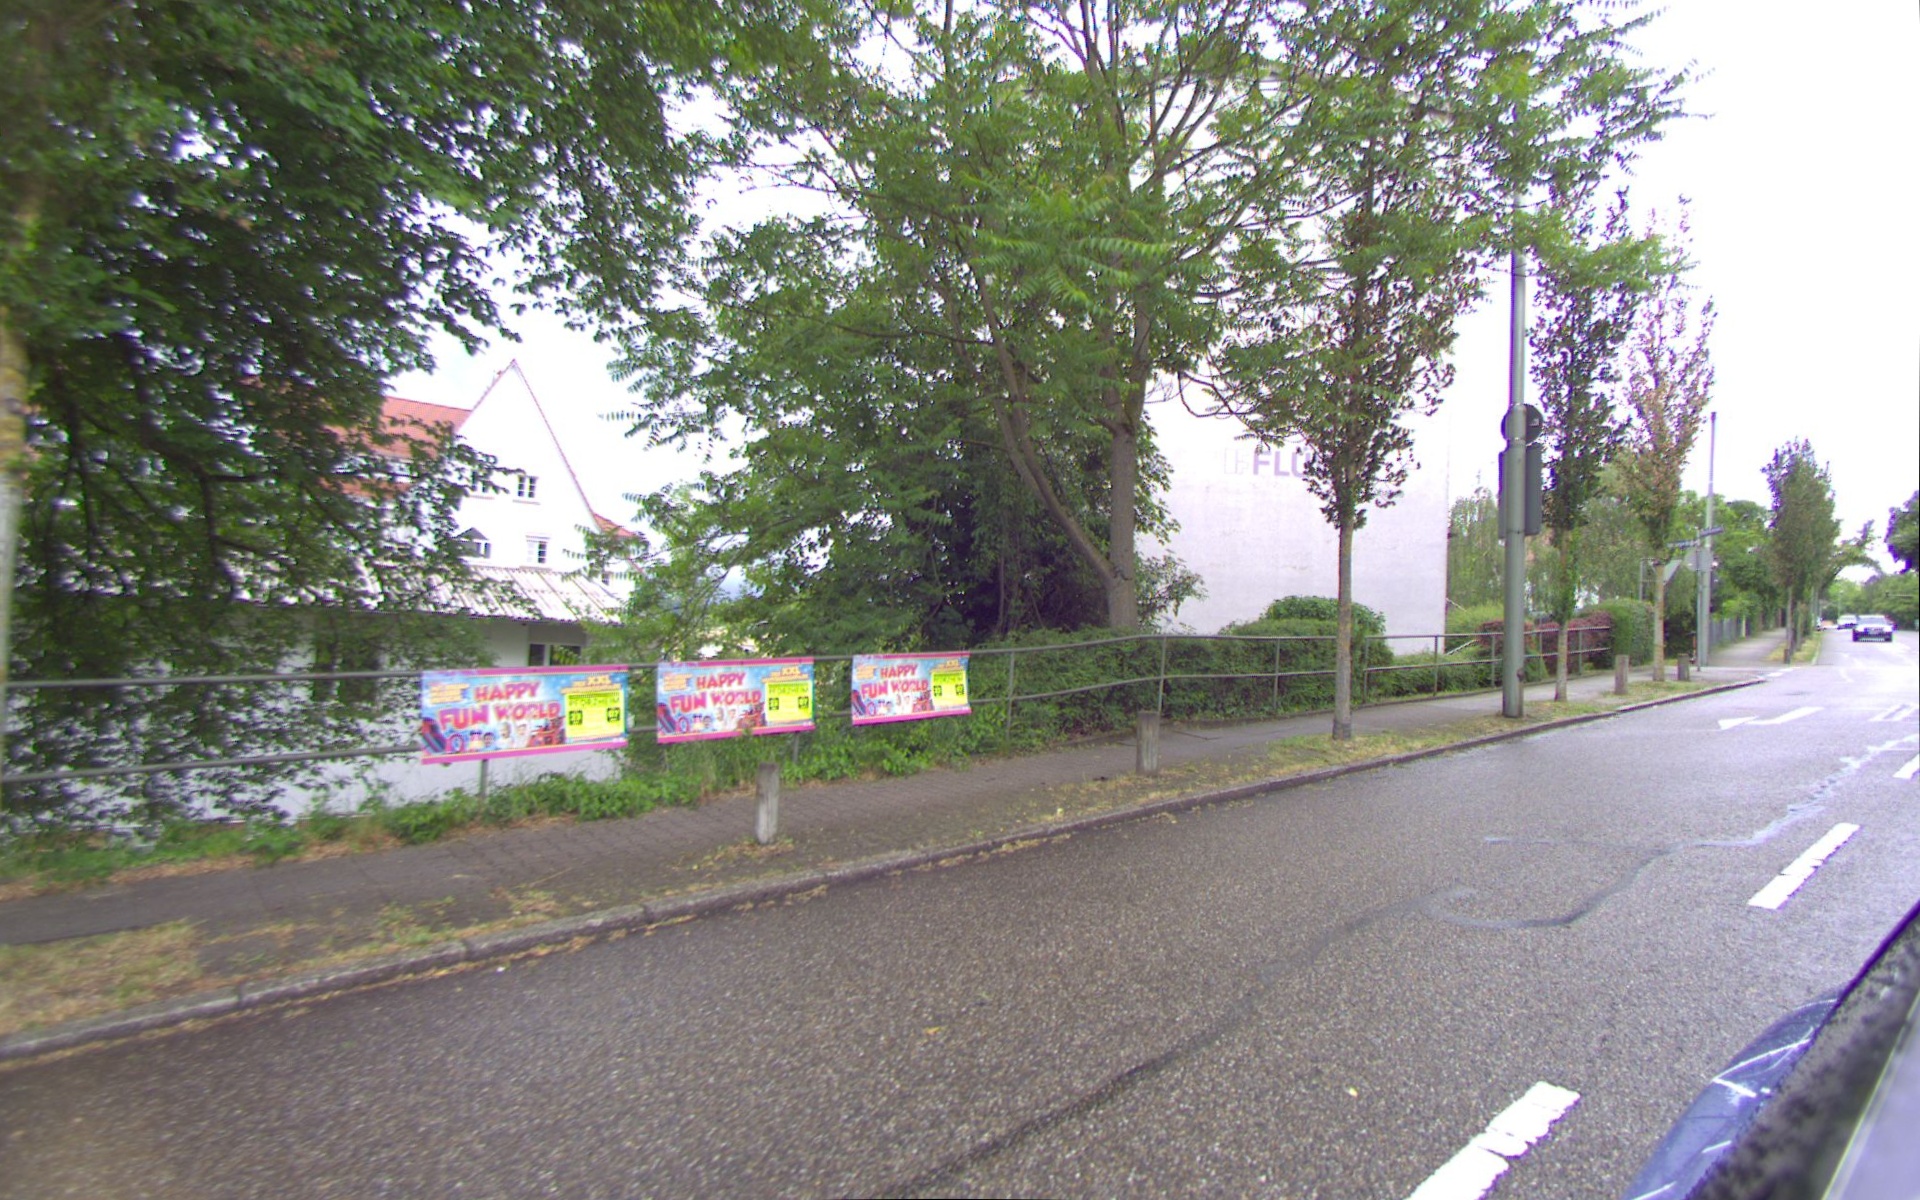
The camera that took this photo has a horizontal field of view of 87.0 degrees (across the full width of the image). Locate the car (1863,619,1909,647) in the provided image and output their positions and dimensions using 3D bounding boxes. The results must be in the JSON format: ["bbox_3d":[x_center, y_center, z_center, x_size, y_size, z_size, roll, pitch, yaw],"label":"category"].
[{"bbox_3d":[58.525,2.083,63.931,1.993,1.706,3.936,-4,-4,44],"label":"car"}]

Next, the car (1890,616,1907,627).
[{"bbox_3d":[150.137,3.379,161.895,1.744,1.568,3.860,4,2,40],"label":"car"}]

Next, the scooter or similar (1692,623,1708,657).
[{"bbox_3d":[28.393,1.536,38.833,0.342,1.270,1.249,-4,-2,40],"label":"scooter or similar"}]

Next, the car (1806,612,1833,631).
[{"bbox_3d":[79.942,1.966,94.116,1.822,1.650,3.942,1,0,40],"label":"car"}]
